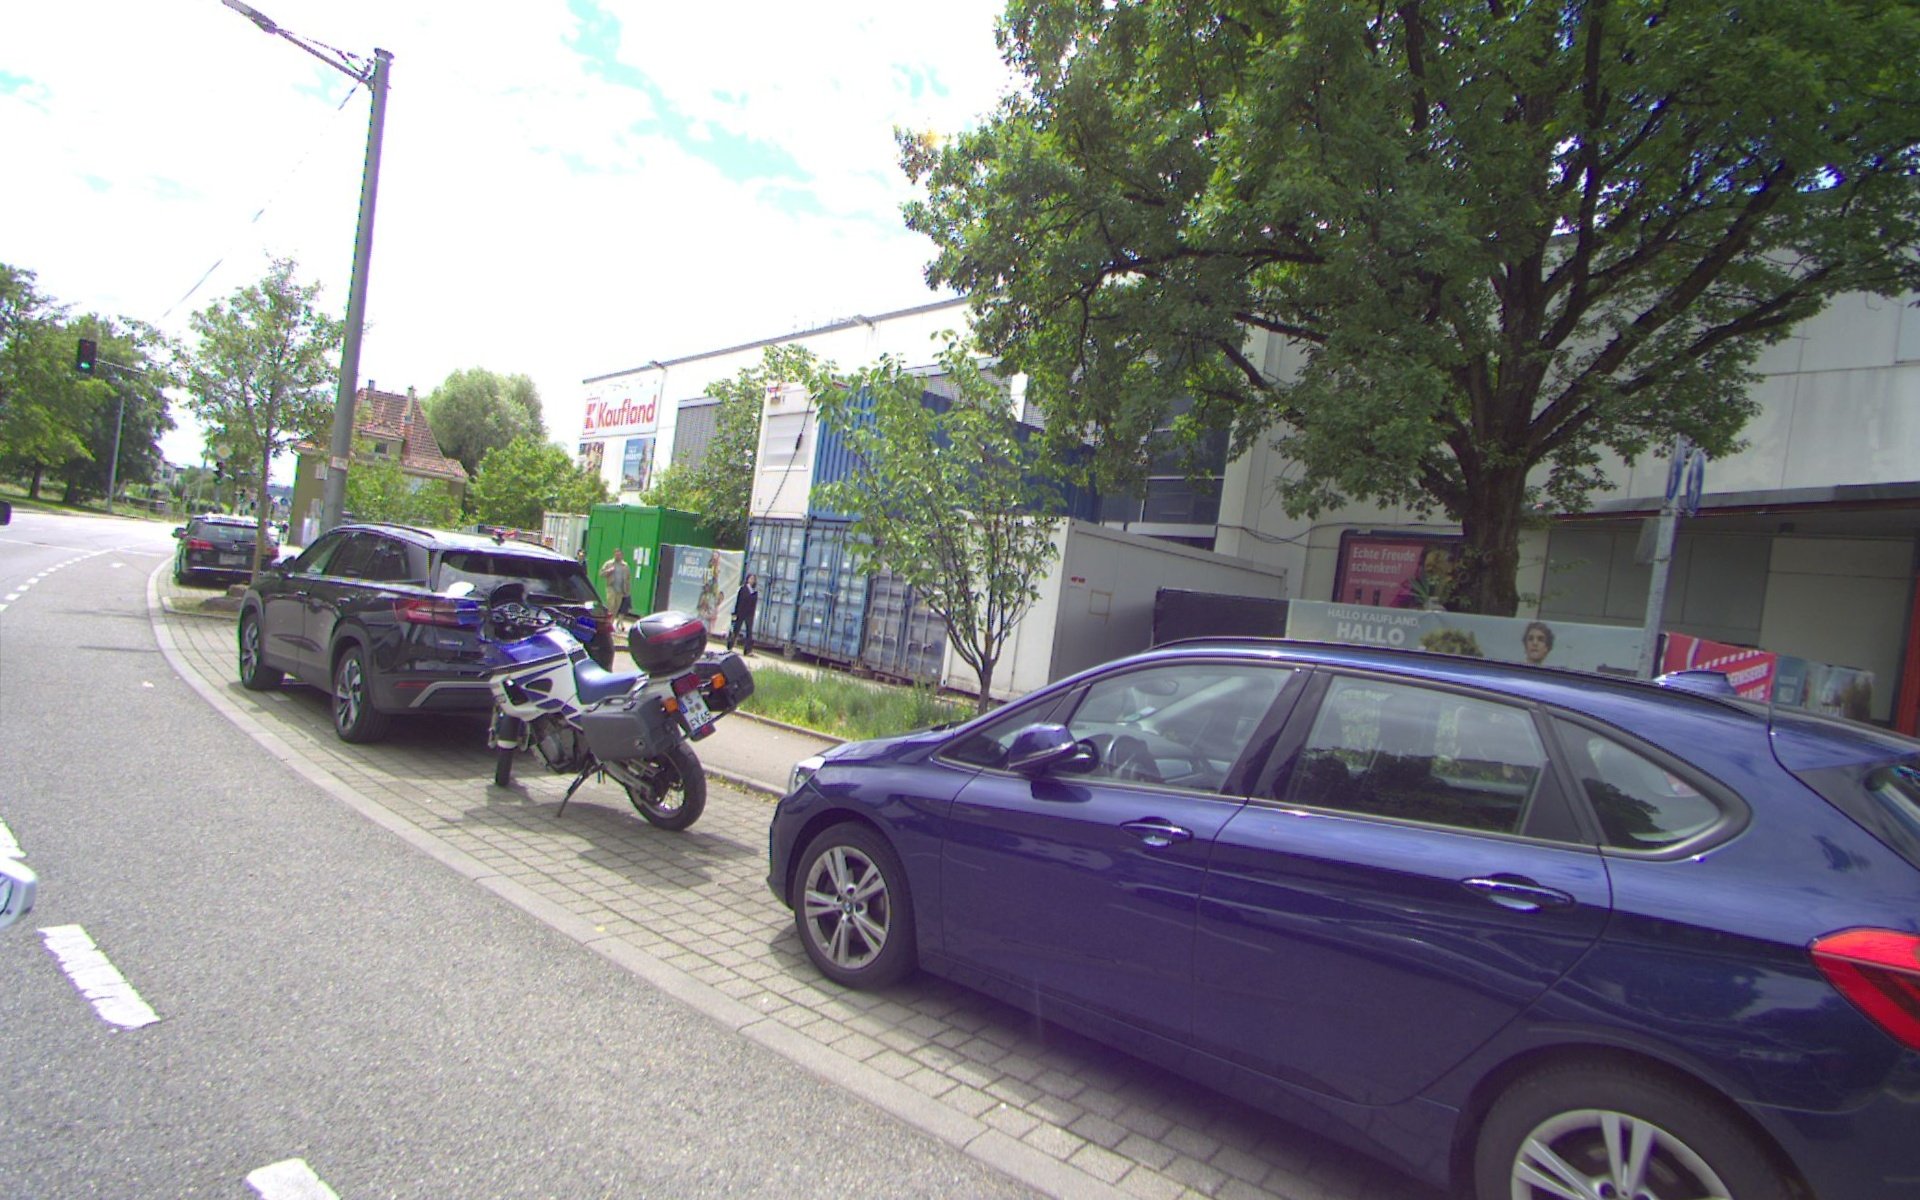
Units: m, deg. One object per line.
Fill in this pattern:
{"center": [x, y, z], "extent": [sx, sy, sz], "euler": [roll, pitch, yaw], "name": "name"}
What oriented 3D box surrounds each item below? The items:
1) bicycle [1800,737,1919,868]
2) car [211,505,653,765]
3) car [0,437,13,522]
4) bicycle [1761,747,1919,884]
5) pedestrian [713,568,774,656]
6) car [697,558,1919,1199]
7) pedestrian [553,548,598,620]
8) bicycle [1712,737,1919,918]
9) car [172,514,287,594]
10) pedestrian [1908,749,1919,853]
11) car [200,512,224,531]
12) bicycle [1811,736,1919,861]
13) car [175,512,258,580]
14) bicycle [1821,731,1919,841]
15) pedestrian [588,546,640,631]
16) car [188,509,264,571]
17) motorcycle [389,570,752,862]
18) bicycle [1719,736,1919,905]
{"center": [9.846, 2.141, 10.386], "extent": [0.423, 1.169, 1.644], "euler": [7, -1, -39], "name": "bicycle"}
{"center": [-4.917, 0.153, 8.983], "extent": [4.780, 1.642, 1.875], "euler": [7, 1, 42], "name": "car"}
{"center": [-9.253, -0.637, 7.854], "extent": [1.930, 1.983, 4.784], "euler": [10, -2, -37], "name": "car"}
{"center": [8.917, 2.100, 9.664], "extent": [1.777, 1.053, 0.518], "euler": [7, 1, 44], "name": "bicycle"}
{"center": [-4.314, 0.242, 20.043], "extent": [0.740, 1.637, 0.759], "euler": [7, 0, -41], "name": "pedestrian"}
{"center": [1.168, 0.865, 3.854], "extent": [4.365, 1.598, 1.914], "euler": [7, 1, 39], "name": "car"}
{"center": [-9.786, -0.412, 25.600], "extent": [0.649, 1.718, 0.835], "euler": [7, 0, -41], "name": "pedestrian"}
{"center": [7.378, 1.865, 8.272], "extent": [0.446, 1.169, 1.778], "euler": [7, -1, -28], "name": "bicycle"}
{"center": [-16.675, -1.102, 22.863], "extent": [1.756, 1.496, 4.881], "euler": [4, 1, -40], "name": "car"}
{"center": [11.311, 2.005, 11.288], "extent": [0.618, 1.780, 0.741], "euler": [4, 2, -36], "name": "pedestrian"}
{"center": [-76.631, -8.018, 103.142], "extent": [1.823, 1.637, 4.109], "euler": [6, 0, -37], "name": "car"}
{"center": [10.376, 2.201, 10.798], "extent": [0.437, 1.169, 1.747], "euler": [7, -1, -40], "name": "bicycle"}
{"center": [-19.773, -1.471, 26.736], "extent": [1.560, 1.511, 3.959], "euler": [6, 0, -37], "name": "car"}
{"center": [11.730, 2.330, 12.114], "extent": [0.526, 1.169, 1.895], "euler": [7, -1, -36], "name": "bicycle"}
{"center": [-7.431, -0.253, 21.582], "extent": [0.648, 1.717, 0.716], "euler": [7, 0, -41], "name": "pedestrian"}
{"center": [-22.909, -1.877, 31.330], "extent": [1.727, 1.637, 4.341], "euler": [4, 1, -38], "name": "car"}
{"center": [-2.456, 0.593, 6.184], "extent": [2.228, 1.323, 1.069], "euler": [7, 2, 40], "name": "motorcycle"}
{"center": [8.000, 1.962, 9.032], "extent": [0.495, 1.169, 1.762], "euler": [7, -1, -25], "name": "bicycle"}
